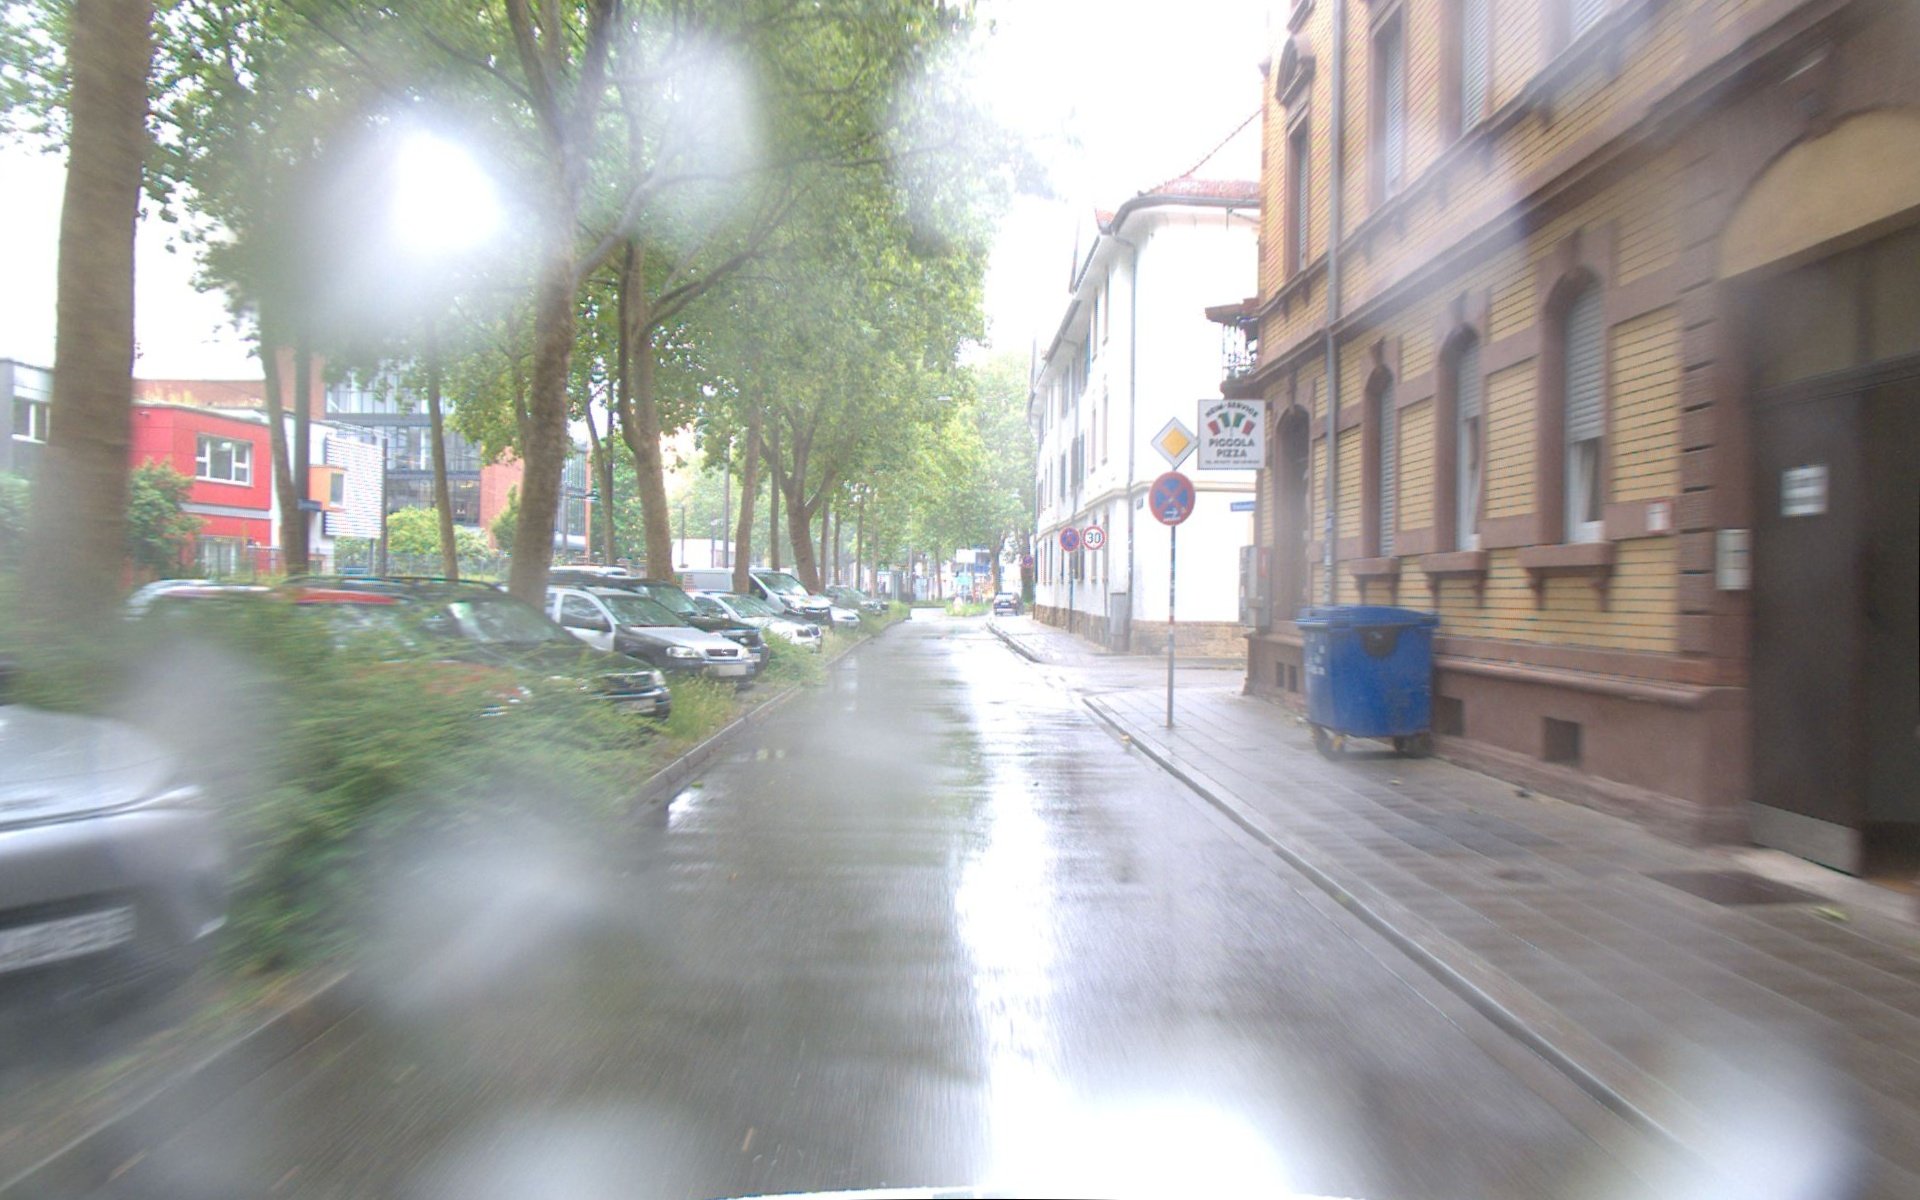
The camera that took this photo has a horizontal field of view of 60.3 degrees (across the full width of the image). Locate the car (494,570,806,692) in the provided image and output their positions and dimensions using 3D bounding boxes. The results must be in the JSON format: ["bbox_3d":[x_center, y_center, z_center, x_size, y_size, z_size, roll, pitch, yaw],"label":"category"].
[{"bbox_3d":[-4.643,0.404,24.694,4.318,1.689,1.928,0,1,27],"label":"car"}]

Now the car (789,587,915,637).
[{"bbox_3d":[-3.503,0.384,53.314,3.734,1.547,1.719,-1,0,31],"label":"car"}]

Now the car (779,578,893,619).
[{"bbox_3d":[-5.129,-0.091,68.479,4.370,1.625,1.922,1,1,26],"label":"car"}]

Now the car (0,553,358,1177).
[{"bbox_3d":[-4.084,0.619,5.256,3.972,1.564,1.834,2,1,26],"label":"car"}]

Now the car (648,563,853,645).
[{"bbox_3d":[-5.433,0.117,42.695,5.019,2.012,2.099,-1,0,30],"label":"car"}]

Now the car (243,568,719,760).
[{"bbox_3d":[-4.429,0.493,15.214,4.135,1.505,1.742,2,1,27],"label":"car"}]

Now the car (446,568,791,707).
[{"bbox_3d":[-4.546,0.483,21.885,4.322,1.674,1.868,-1,0,30],"label":"car"}]

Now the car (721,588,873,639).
[{"bbox_3d":[-5.059,0.429,51.173,4.460,1.508,1.772,-1,0,30],"label":"car"}]

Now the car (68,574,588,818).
[{"bbox_3d":[-4.706,0.596,12.266,3.574,1.505,1.741,2,1,30],"label":"car"}]

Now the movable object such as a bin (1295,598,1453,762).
[{"bbox_3d":[3.706,0.688,14.936,1.000,1.324,1.366,-3,1,-1],"label":"movable object such as a bin"}]

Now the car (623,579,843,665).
[{"bbox_3d":[-4.494,0.396,32.692,3.974,1.525,1.747,1,1,23],"label":"car"}]

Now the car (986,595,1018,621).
[{"bbox_3d":[2.858,0.514,113.375,1.953,1.668,3.999,1,0,-1],"label":"car"}]

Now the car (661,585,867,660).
[{"bbox_3d":[-4.303,0.457,36.303,4.218,1.462,1.746,1,1,26],"label":"car"}]

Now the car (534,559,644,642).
[{"bbox_3d":[-9.684,-0.020,43.533,1.997,2.034,5.156,1,1,-4],"label":"car"}]
